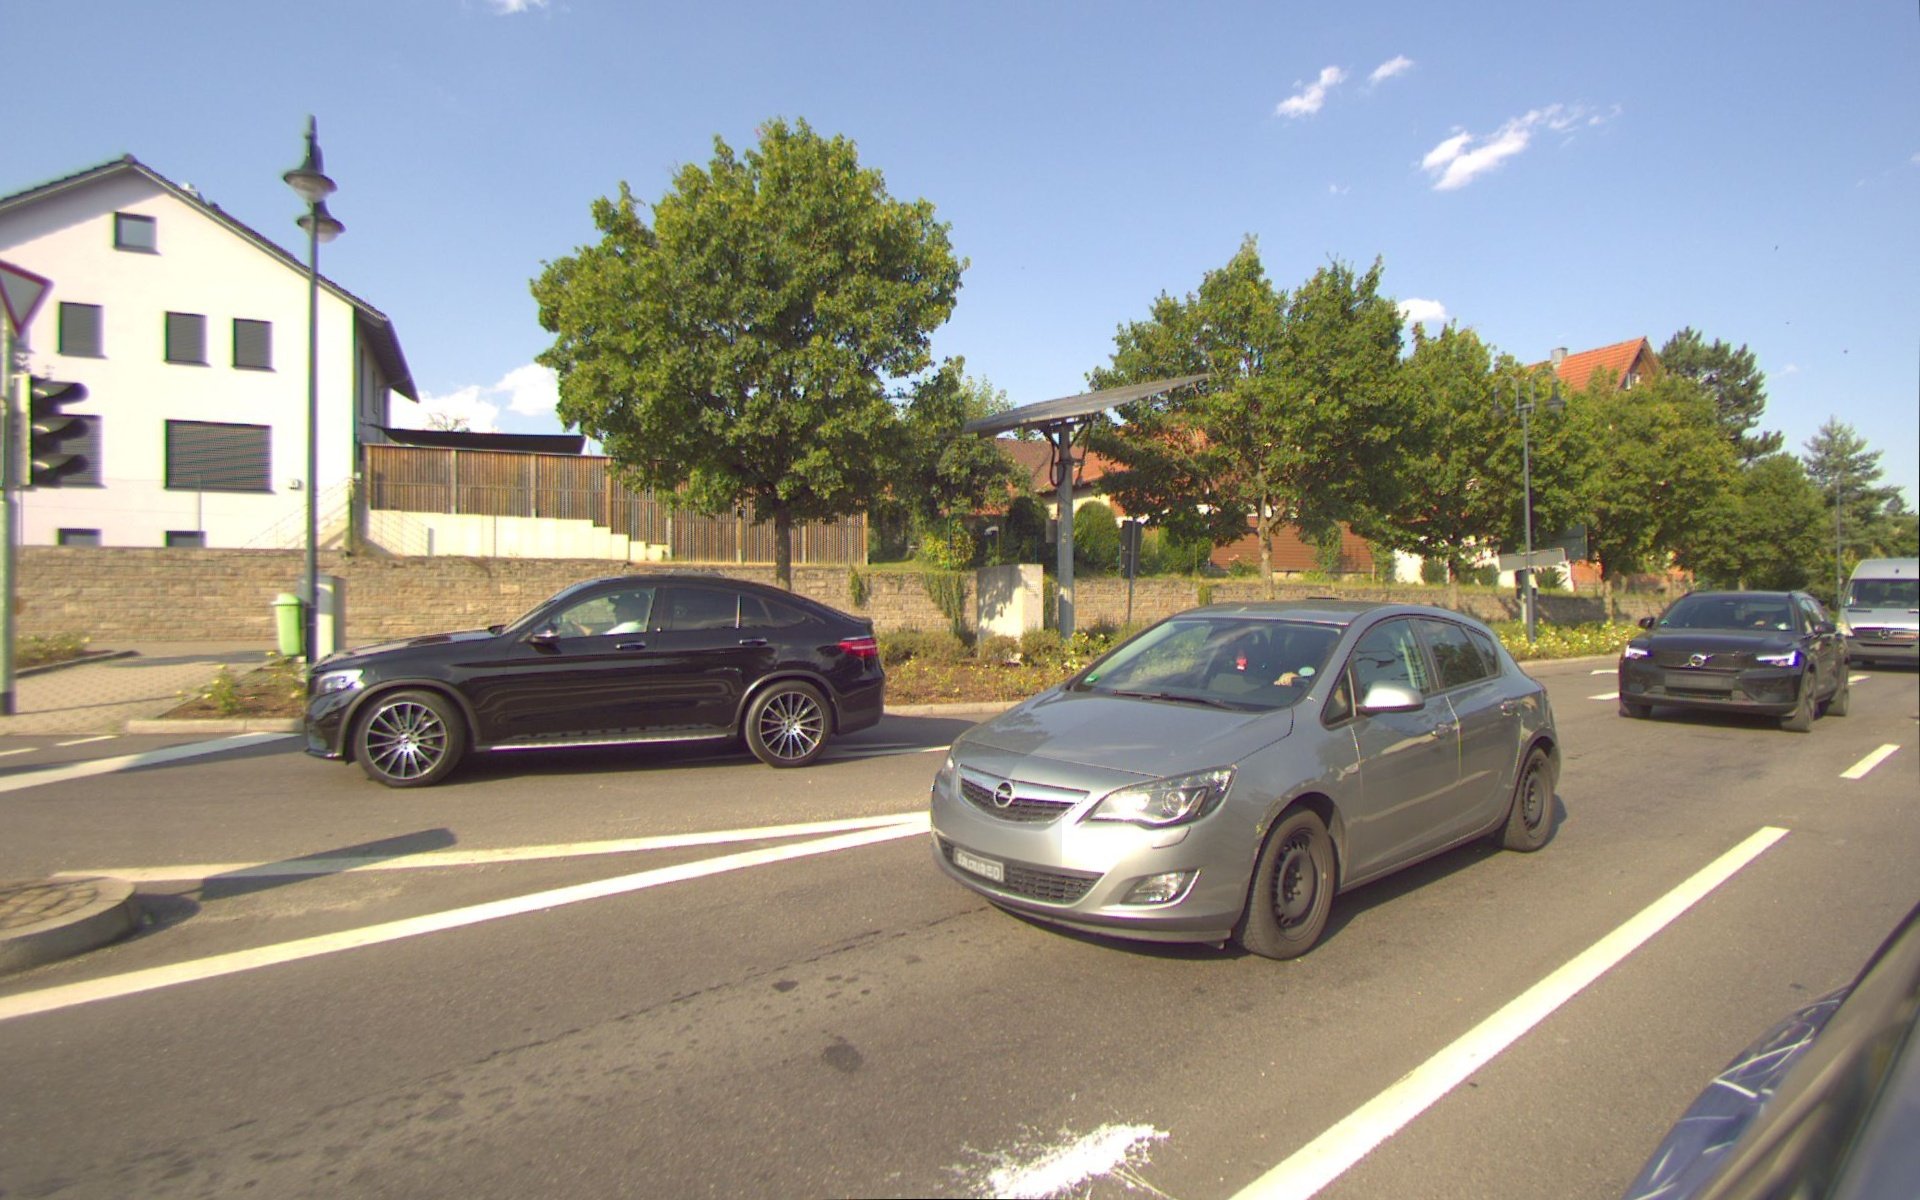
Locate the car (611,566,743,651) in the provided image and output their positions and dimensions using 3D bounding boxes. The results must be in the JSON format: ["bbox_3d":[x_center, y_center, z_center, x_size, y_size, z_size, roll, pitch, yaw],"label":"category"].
[{"bbox_3d":[-5.636,0.147,19.803,1.644,1.475,4.085,0,0,-28],"label":"car"}]

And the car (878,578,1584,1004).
[{"bbox_3d":[1.697,0.650,5.433,4.070,1.440,1.651,0,1,-41],"label":"car"}]

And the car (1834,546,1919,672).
[{"bbox_3d":[22.732,0.174,24.089,6.533,2.691,2.038,0,1,-41],"label":"car"}]

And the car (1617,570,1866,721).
[{"bbox_3d":[10.036,0.492,12.897,3.986,1.626,1.790,0,0,-41],"label":"car"}]

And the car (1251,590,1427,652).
[{"bbox_3d":[9.596,0.495,25.921,1.714,1.449,4.002,0,0,-33],"label":"car"}]

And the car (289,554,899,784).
[{"bbox_3d":[-2.907,0.466,8.644,4.400,1.586,1.849,0,0,-21],"label":"car"}]
